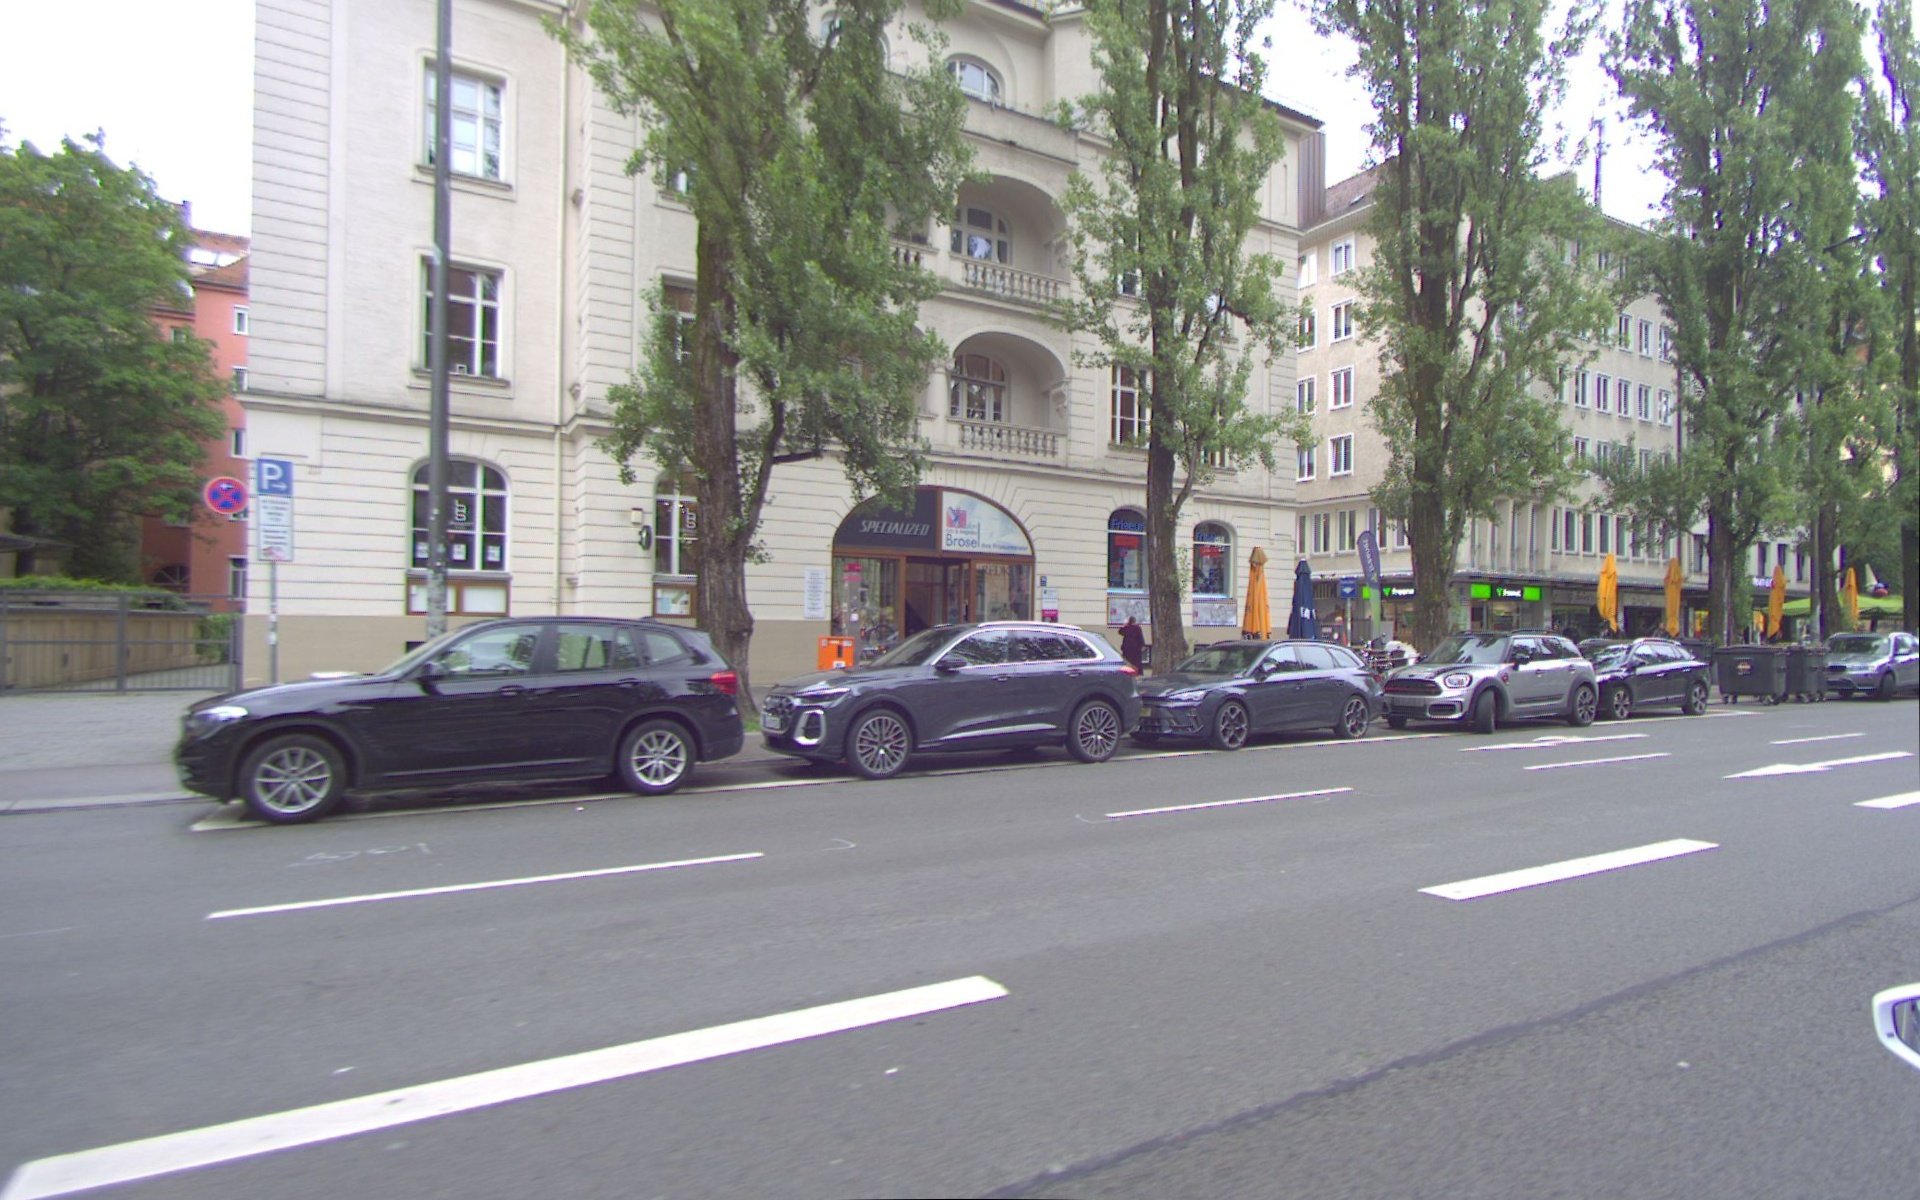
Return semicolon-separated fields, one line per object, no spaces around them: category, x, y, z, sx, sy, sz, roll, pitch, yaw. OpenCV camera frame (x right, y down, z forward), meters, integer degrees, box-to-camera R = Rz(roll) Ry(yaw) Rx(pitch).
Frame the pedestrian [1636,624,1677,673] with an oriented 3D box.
pedestrian;25.759;1.780;37.163;1.134;1.767;0.848;1;-1;-29

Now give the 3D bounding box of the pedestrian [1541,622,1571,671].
pedestrian;21.465;1.673;36.188;0.817;1.744;0.622;1;-1;-30

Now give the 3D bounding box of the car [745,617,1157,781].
car;-0.035;1.057;11.833;4.574;1.615;1.796;1;-2;-29

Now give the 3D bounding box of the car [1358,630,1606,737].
car;8.766;1.323;16.817;4.083;1.596;1.774;1;-3;-30

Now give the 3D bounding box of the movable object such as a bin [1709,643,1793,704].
movable object such as a bin;18.117;1.666;23.024;0.891;1.327;1.272;1;-1;-29

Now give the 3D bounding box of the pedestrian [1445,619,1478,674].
pedestrian;16.268;1.502;32.577;0.817;1.744;0.622;1;-1;-31

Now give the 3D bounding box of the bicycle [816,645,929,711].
bicycle;-1.553;1.380;17.861;1.957;1.127;0.539;1;-1;-5

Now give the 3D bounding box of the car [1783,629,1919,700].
car;23.125;1.620;25.608;4.563;1.676;1.856;2;-4;-31

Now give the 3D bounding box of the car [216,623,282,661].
car;-28.644;1.680;40.561;1.699;1.437;3.720;1;-1;-28

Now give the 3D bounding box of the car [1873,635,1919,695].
car;27.169;1.781;27.839;4.035;1.571;1.689;1;-2;-31

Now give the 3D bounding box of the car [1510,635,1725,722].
car;12.779;1.470;19.476;4.260;1.524;1.657;1;-3;-29

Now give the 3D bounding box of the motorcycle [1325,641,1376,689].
motorcycle;9.771;1.609;25.120;1.802;1.154;0.471;2;-2;-44

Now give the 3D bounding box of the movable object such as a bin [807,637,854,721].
movable object such as a bin;-2.113;1.270;16.356;0.579;1.333;0.602;1;-1;-29

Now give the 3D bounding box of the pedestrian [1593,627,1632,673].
pedestrian;25.367;1.933;39.038;1.134;1.767;0.848;1;-1;-29

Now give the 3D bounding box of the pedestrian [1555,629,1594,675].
pedestrian;24.021;2.024;39.251;1.134;1.768;0.848;1;0;-29

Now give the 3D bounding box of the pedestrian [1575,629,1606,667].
pedestrian;22.447;1.697;35.747;0.817;1.342;0.622;1;-1;-30

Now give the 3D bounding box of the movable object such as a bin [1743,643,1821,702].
movable object such as a bin;19.733;1.716;24.136;0.816;1.334;1.253;1;-1;-31

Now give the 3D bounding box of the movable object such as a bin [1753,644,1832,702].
movable object such as a bin;20.405;1.768;24.642;0.810;1.334;1.307;1;-1;-30

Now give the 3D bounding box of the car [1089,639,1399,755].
car;4.168;1.301;14.458;4.638;1.442;1.675;2;-4;-33

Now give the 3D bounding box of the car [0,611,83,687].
car;-21.214;1.041;22.372;1.699;1.595;3.720;1;-1;-28

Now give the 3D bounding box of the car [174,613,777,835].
car;-4.244;0.987;9.415;4.661;1.639;1.811;1;-2;-31

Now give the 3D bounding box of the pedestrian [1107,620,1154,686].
pedestrian;4.148;1.280;24.429;0.795;1.558;0.765;2;0;-30

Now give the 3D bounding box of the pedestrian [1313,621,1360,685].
pedestrian;10.253;1.437;27.332;0.941;1.695;0.731;2;0;-30
